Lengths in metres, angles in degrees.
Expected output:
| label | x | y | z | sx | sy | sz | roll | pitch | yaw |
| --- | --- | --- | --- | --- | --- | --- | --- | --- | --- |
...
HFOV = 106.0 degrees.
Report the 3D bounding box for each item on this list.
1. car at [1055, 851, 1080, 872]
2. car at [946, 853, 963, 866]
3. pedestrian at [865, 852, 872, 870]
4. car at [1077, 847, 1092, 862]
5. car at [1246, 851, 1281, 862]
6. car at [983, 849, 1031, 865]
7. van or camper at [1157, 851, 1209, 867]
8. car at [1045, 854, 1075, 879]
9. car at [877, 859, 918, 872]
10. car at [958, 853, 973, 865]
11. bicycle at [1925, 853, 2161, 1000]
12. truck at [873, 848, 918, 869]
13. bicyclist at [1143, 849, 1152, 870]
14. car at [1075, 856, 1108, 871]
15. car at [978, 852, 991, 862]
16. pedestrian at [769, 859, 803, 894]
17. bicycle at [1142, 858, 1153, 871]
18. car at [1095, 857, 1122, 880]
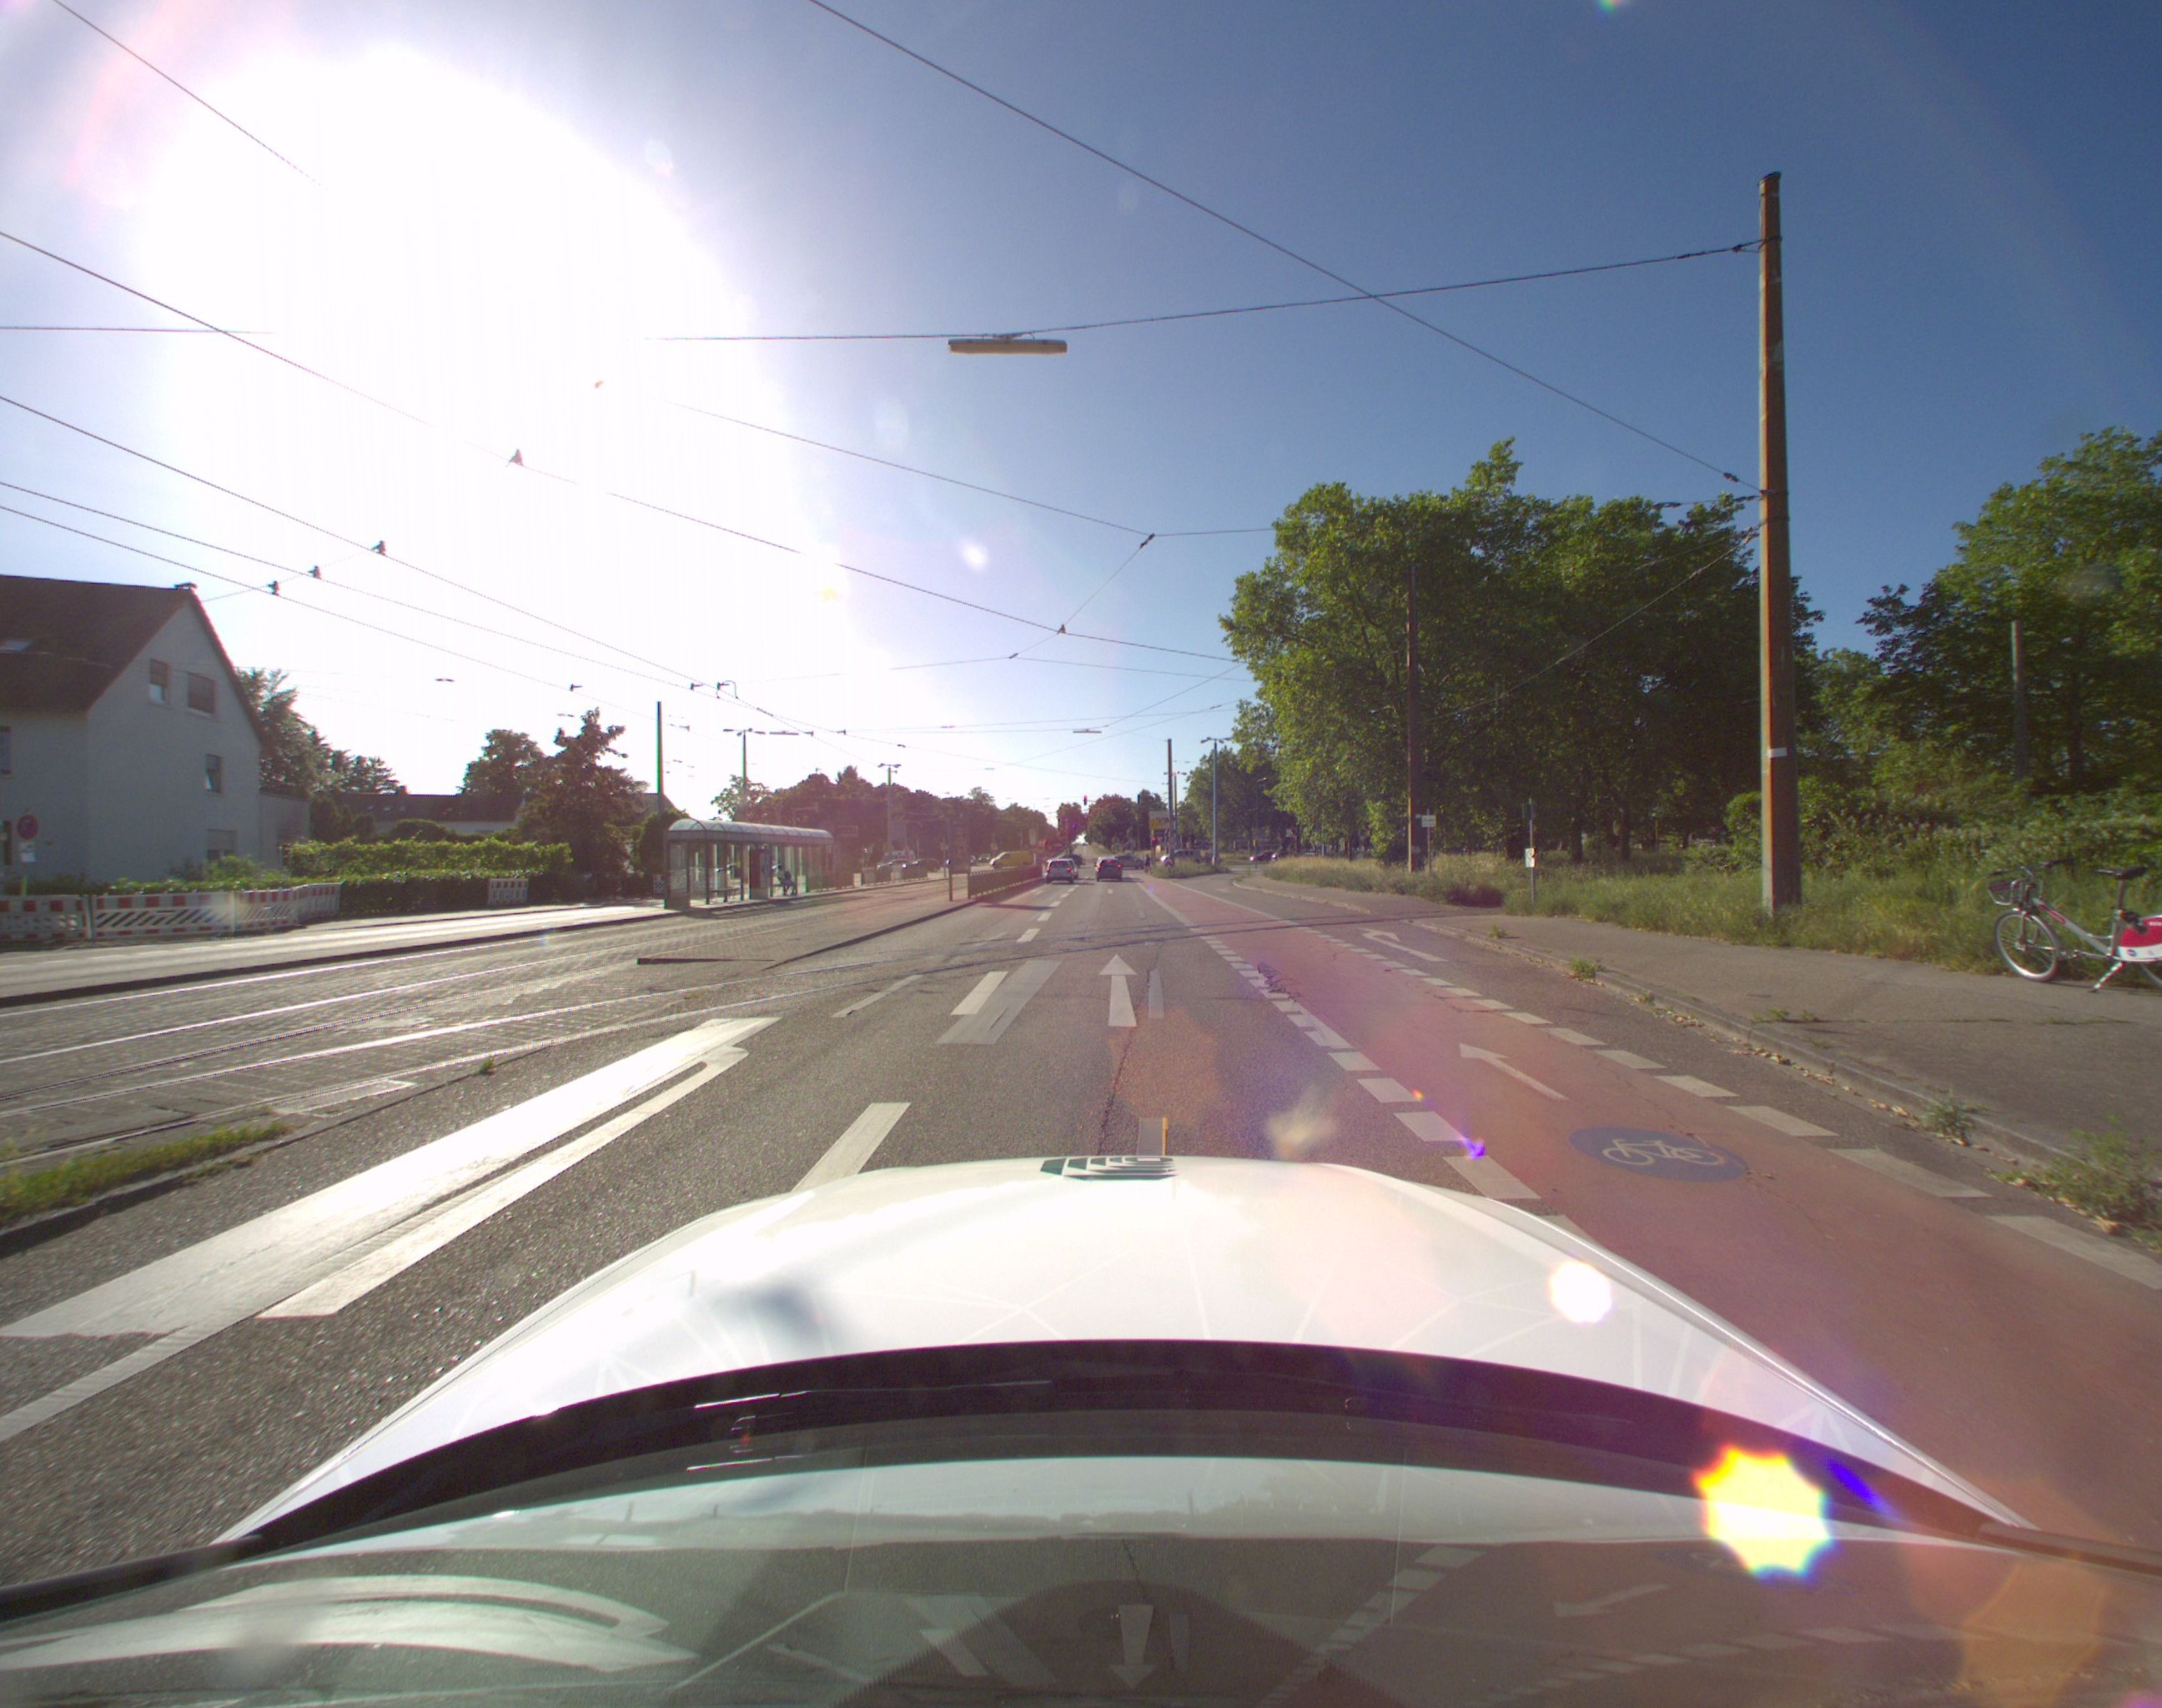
| label | x | y | z | sx | sy | sz | roll | pitch | yaw |
| --- | --- | --- | --- | --- | --- | --- | --- | --- | --- |
| car | -0.985 | 0.557 | 59.627 | 1.613 | 1.457 | 4.086 | 0 | 0 | 2 |
| car | -16.697 | 0.702 | 107.447 | 1.829 | 1.548 | 3.994 | -1 | 0 | -4 |
| pedestrian | -24.368 | 0.766 | 93.376 | 0.748 | 2.013 | 0.789 | -1 | 0 | -10 |
| car | 0.515 | 0.144 | 112.917 | 1.986 | 2.014 | 4.494 | 0 | 0 | 2 |
| car | 22.542 | 0.307 | 100.535 | 4.017 | 1.403 | 1.599 | -1 | 0 | -20 |
| car | -8.666 | 0.344 | 95.209 | 5.180 | 1.879 | 1.983 | 1 | -1 | -25 |
| van or camper | 12.043 | 0.602 | 96.183 | 5.998 | 1.828 | 1.983 | -1 | 0 | -26 |
| car | -1.265 | 0.751 | 49.740 | 1.613 | 1.417 | 3.352 | -2 | 0 | 2 |
| car | -20.139 | 1.247 | 89.443 | 4.011 | 1.473 | 1.735 | 1 | -1 | -30 |
| car | -16.788 | 0.720 | 118.539 | 1.829 | 1.548 | 4.278 | -1 | 0 | -4 |
| bicycle | 8.500 | 0.572 | 6.850 | 0.365 | 1.135 | 2.089 | -2 | -1 | -8 |
| truck | -23.955 | 0.573 | 105.381 | 1.976 | 2.565 | 6.860 | -1 | 0 | 23 |
| bicyclist | 5.510 | 0.463 | 67.707 | 0.663 | 1.716 | 0.948 | 0 | -1 | 1 |
| car | 1.189 | 1.045 | 94.126 | 3.608 | 1.709 | 1.746 | 0 | -1 | -9 |
| car | -16.217 | 0.455 | 136.597 | 1.990 | 1.604 | 4.746 | 0 | 0 | -5 |
| pedestrian | -12.864 | 0.965 | 35.516 | 1.057 | 1.453 | 1.007 | -2 | -1 | 1 |
| bicycle | 5.510 | 0.869 | 67.784 | 0.719 | 0.989 | 2.877 | 0 | 0 | 2 |
| car | 1.785 | 0.930 | 53.778 | 1.663 | 1.462 | 3.586 | -1 | 0 | 1 |
